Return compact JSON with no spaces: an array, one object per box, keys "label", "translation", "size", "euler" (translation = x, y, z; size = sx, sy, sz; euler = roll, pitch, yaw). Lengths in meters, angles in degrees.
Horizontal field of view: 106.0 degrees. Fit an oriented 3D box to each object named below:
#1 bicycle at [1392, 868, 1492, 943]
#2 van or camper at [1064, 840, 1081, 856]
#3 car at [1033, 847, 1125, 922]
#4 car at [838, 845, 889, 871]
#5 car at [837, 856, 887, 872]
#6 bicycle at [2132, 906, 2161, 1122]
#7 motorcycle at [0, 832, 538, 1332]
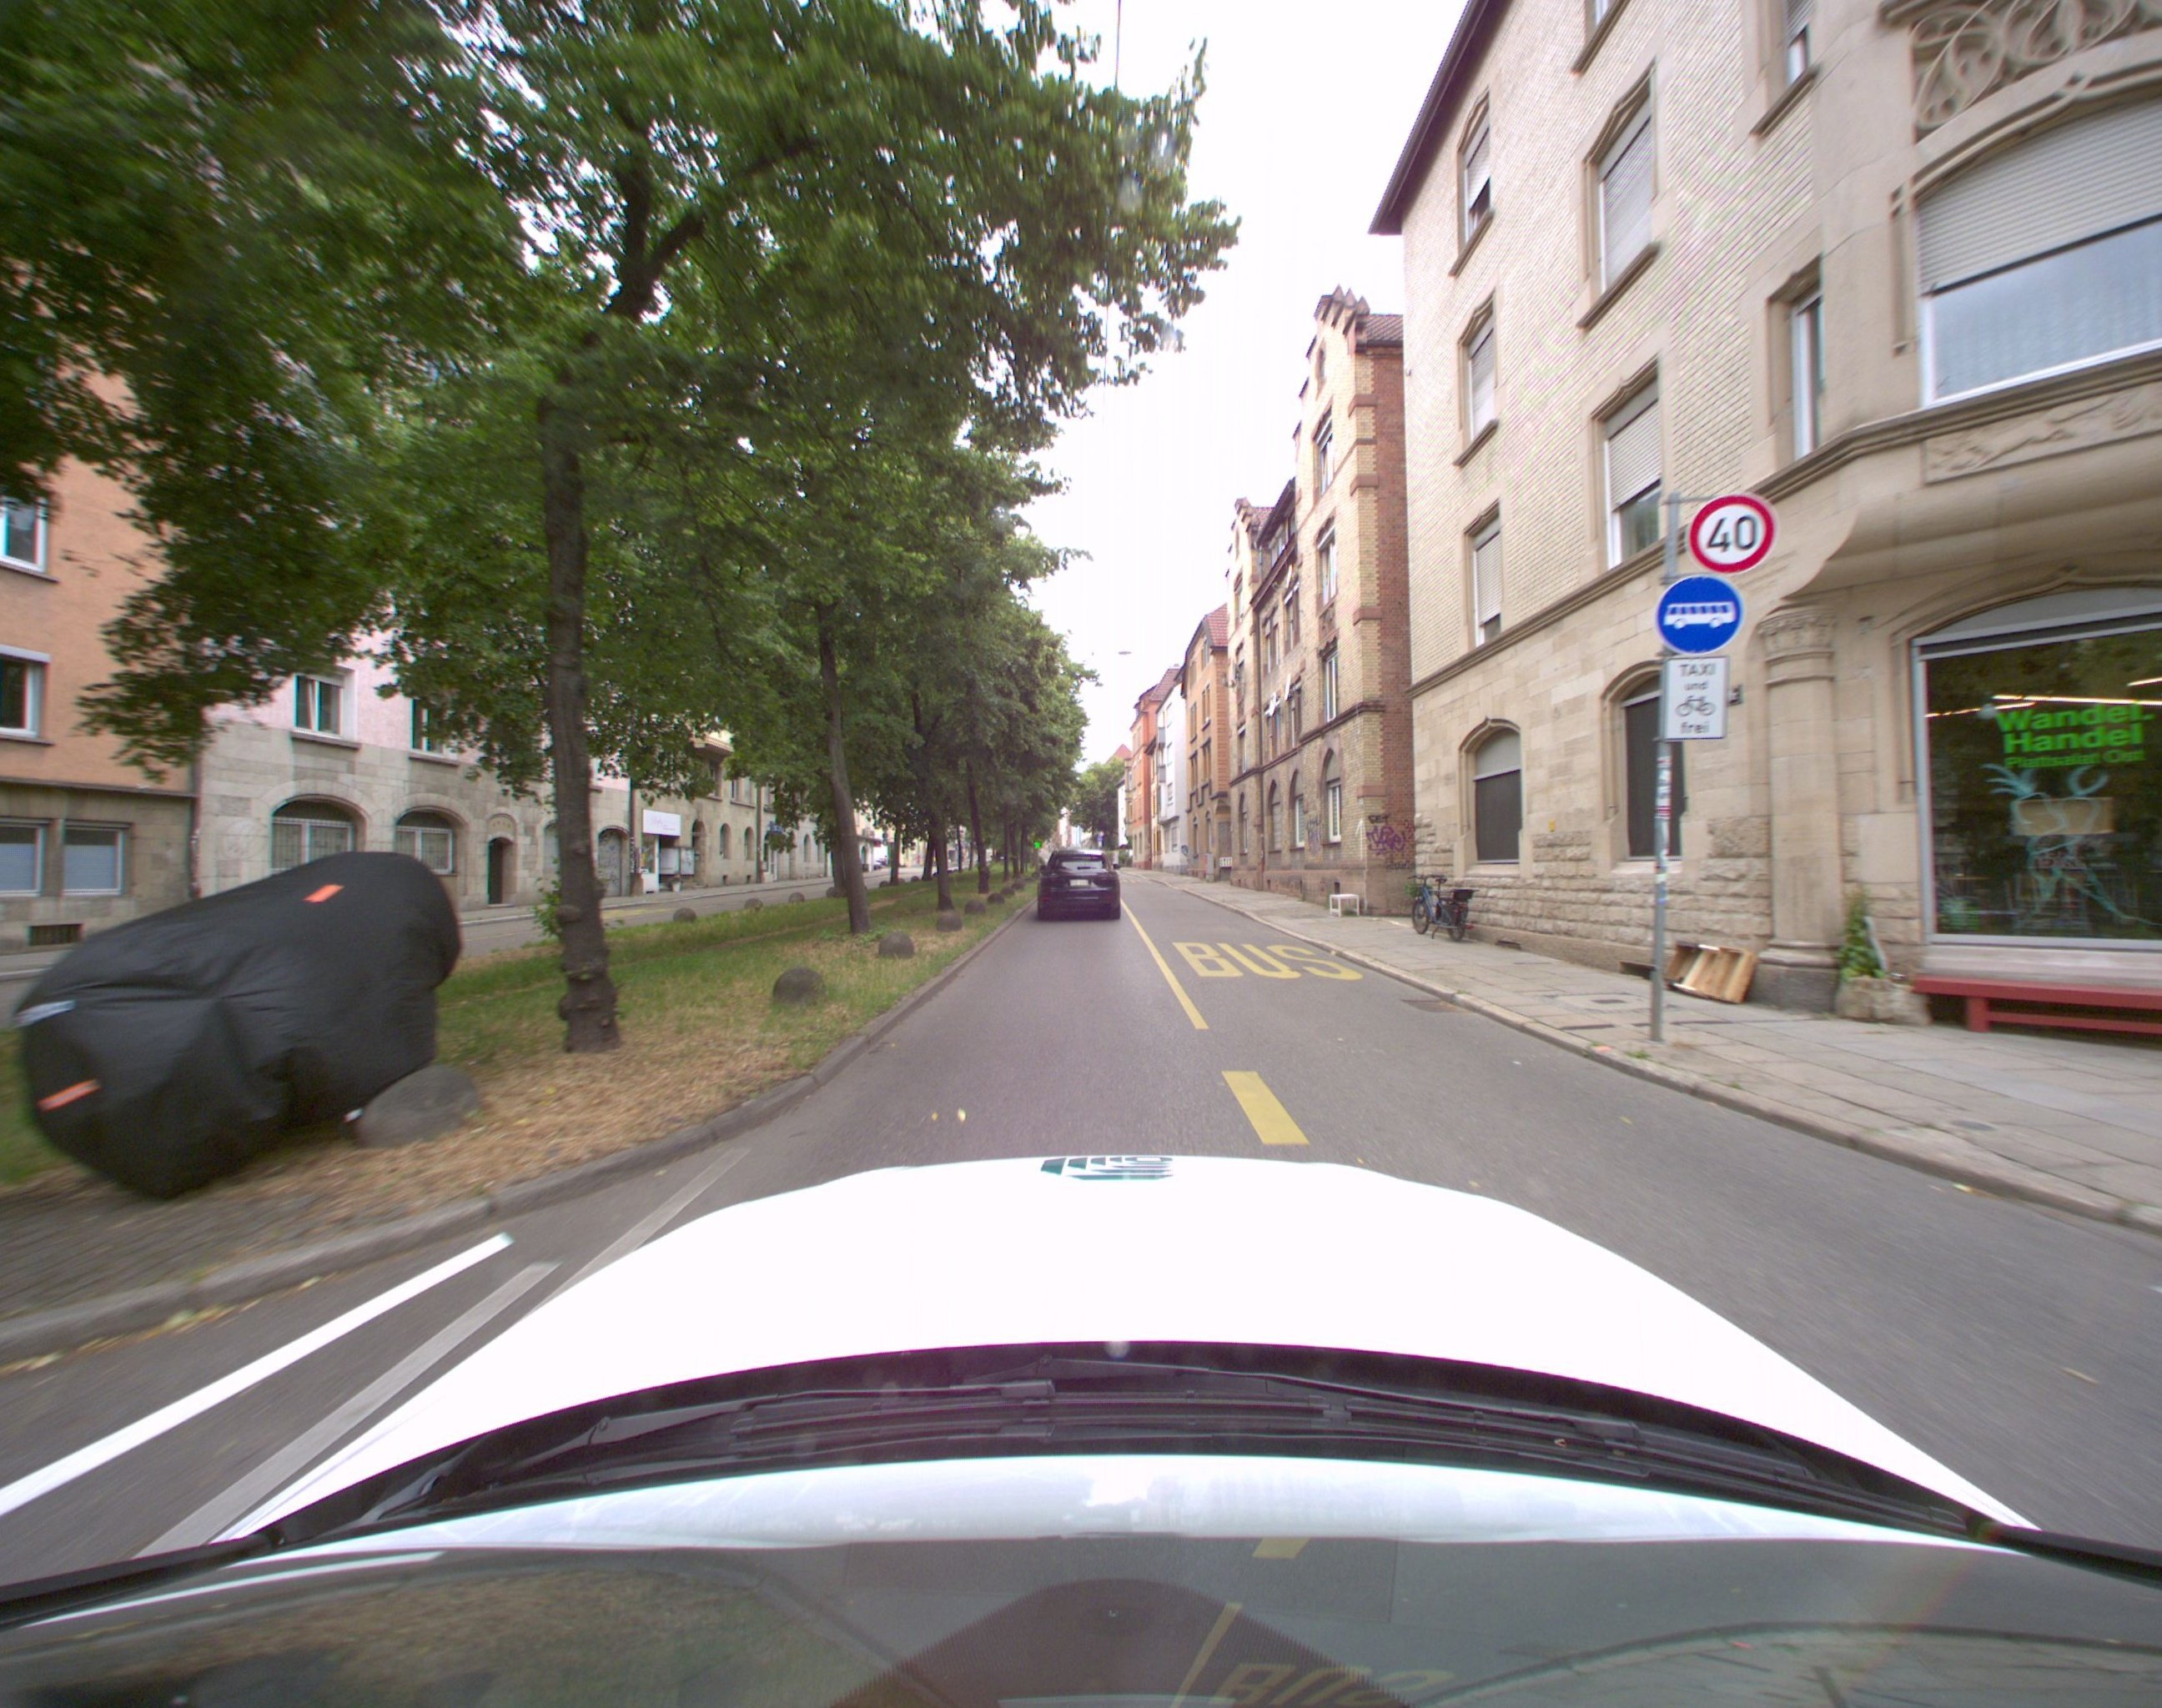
[{"label":"bicycle","translation":[6.165,0.840,14.066],"size":[0.679,1.149,2.484],"euler":[0,-1,2]},{"label":"van or camper","translation":[-1.541,-1.005,142.462],"size":[2.475,2.803,7.227],"euler":[0,-1,-4]},{"label":"car","translation":[-0.166,0.708,20.542],"size":[1.901,1.666,4.126],"euler":[0,-1,-6]},{"label":"car","translation":[-23.629,0.394,88.683],"size":[5.177,2.736,2.168],"euler":[1,-1,-13]},{"label":"car","translation":[-21.517,0.968,80.098],"size":[4.277,1.420,2.046],"euler":[2,0,-3]},{"label":"bicycle","translation":[6.109,0.901,3.023],"size":[0.679,1.149,2.941],"euler":[0,1,2]},{"label":"motorcycle","translation":[-3.824,0.712,3.662],"size":[0.820,1.530,2.626],"euler":[-2,3,2]}]
